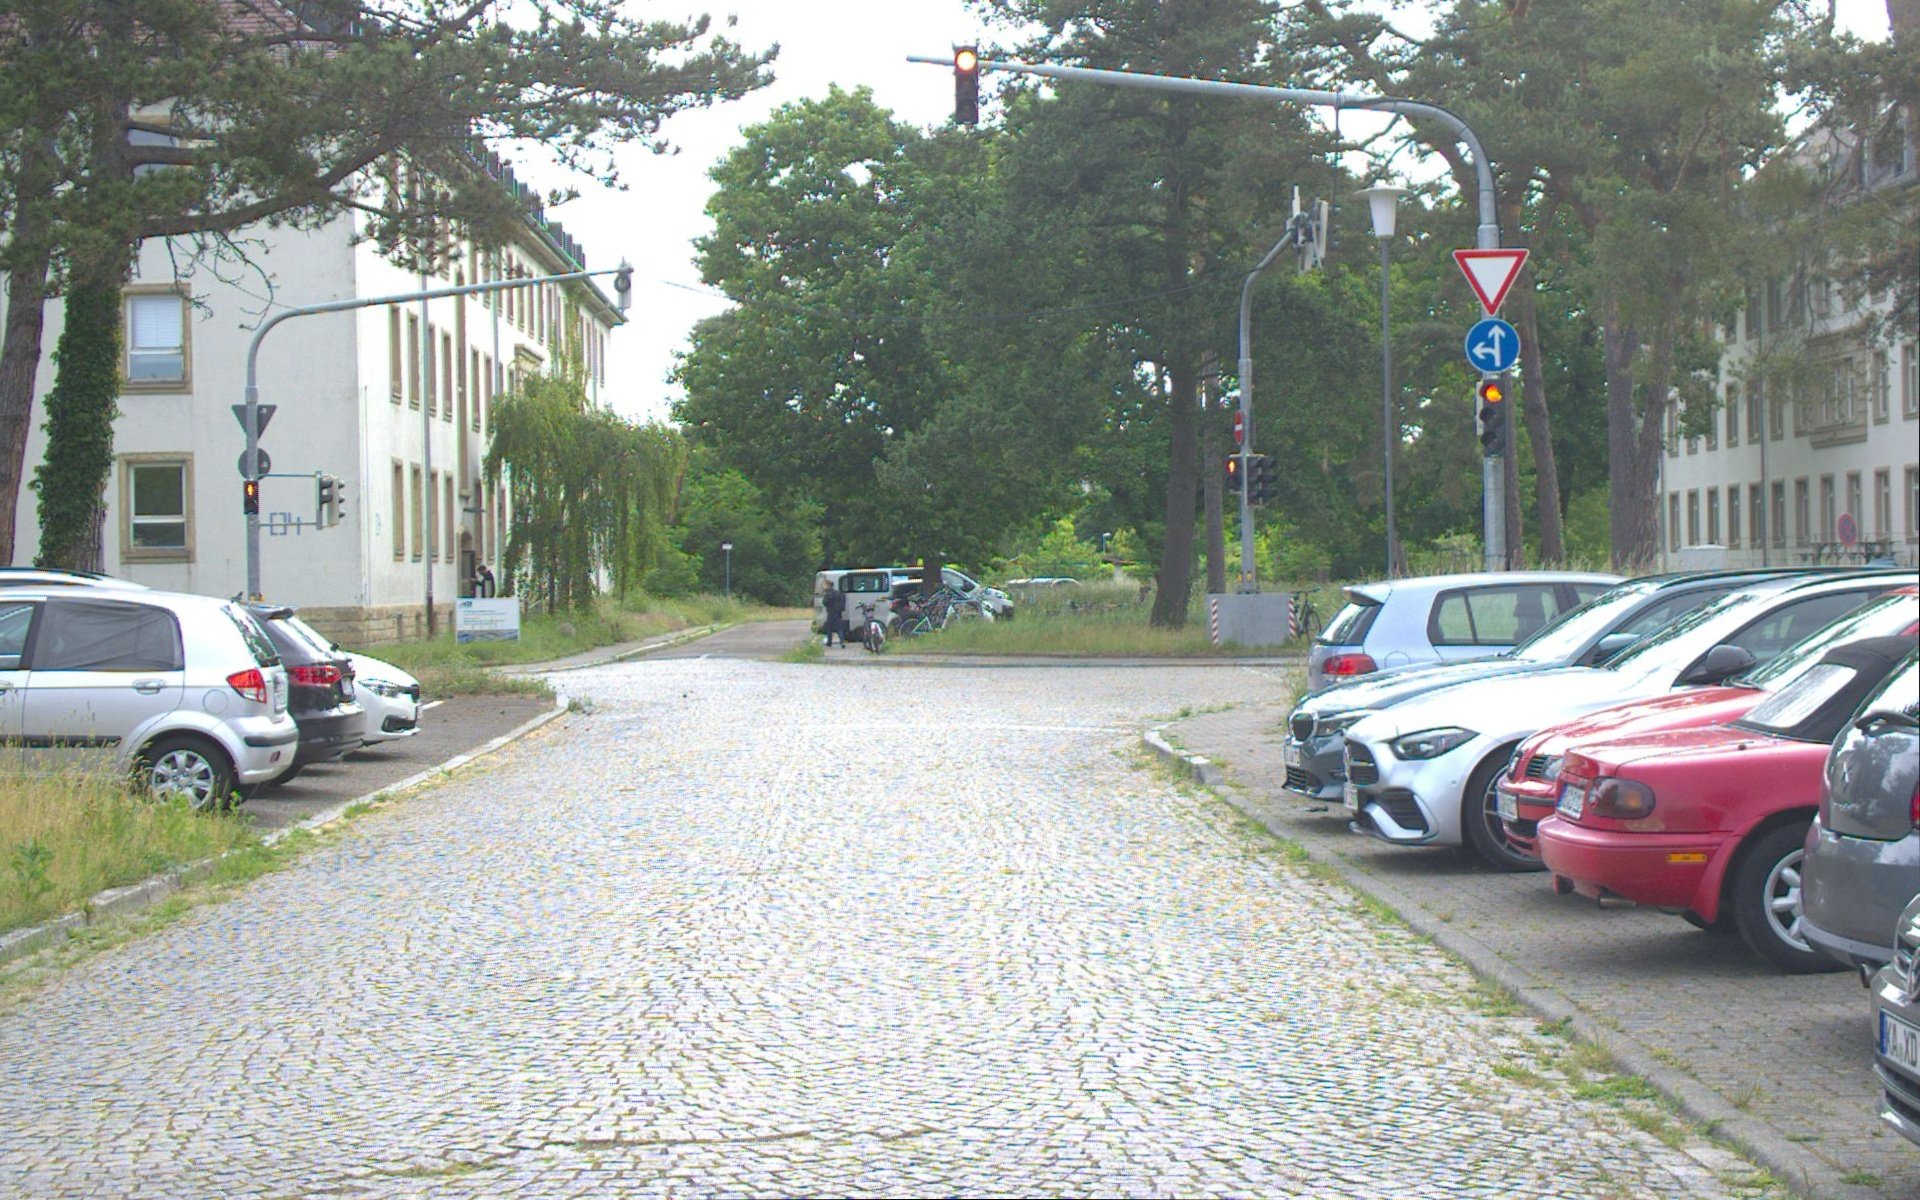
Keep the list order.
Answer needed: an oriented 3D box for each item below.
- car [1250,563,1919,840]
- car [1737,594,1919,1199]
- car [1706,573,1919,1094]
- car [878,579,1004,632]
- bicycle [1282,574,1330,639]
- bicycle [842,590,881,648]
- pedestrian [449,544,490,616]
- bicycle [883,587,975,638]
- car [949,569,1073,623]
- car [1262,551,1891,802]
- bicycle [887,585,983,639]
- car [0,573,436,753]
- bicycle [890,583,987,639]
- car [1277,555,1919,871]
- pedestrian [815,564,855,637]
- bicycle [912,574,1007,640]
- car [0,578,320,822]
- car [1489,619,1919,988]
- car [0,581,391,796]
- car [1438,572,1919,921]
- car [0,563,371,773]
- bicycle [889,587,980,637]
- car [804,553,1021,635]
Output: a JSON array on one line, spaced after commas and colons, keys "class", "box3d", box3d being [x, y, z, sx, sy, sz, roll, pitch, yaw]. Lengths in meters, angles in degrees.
[{"class": "car", "box3d": [4.250, 0.567, 20.908, 4.680, 1.412, 1.871, -3, 1, -3]}, {"class": "car", "box3d": [3.990, 0.658, 7.964, 3.862, 1.467, 1.758, -3, 1, -5]}, {"class": "car", "box3d": [4.522, 0.595, 10.844, 3.862, 1.467, 1.758, -3, 1, -2]}, {"class": "car", "box3d": [-0.483, 0.132, 86.843, 3.005, 1.264, 1.535, -1, 0, -7]}, {"class": "bicycle", "box3d": [6.041, 0.102, 60.127, 0.586, 1.102, 1.961, -1, 1, -1]}, {"class": "bicycle", "box3d": [-1.977, 0.371, 68.919, 0.603, 1.129, 1.962, -1, 1, -7]}, {"class": "pedestrian", "box3d": [-12.515, -0.511, 87.688, 0.774, 1.831, 0.741, -1, 0, -32]}, {"class": "bicycle", "box3d": [-0.668, 0.264, 74.253, 1.955, 1.066, 0.588, -1, 0, -31]}, {"class": "car", "box3d": [1.377, -0.105, 94.136, 3.231, 1.411, 1.725, -1, 0, -4]}, {"class": "car", "box3d": [4.114, 0.494, 23.358, 3.927, 1.472, 1.642, -3, 1, 1]}, {"class": "bicycle", "box3d": [-0.526, 0.249, 72.772, 1.954, 1.113, 0.588, -1, 0, -8]}, {"class": "car", "box3d": [-6.719, 0.536, 30.303, 3.947, 1.417, 1.650, 2, 0, -2]}, {"class": "bicycle", "box3d": [-0.447, 0.229, 72.140, 1.954, 1.129, 0.588, -1, 0, -8]}, {"class": "car", "box3d": [4.096, 0.526, 18.218, 4.421, 1.412, 1.871, -3, 1, -10]}, {"class": "pedestrian", "box3d": [-2.772, 0.011, 76.211, 0.738, 1.613, 0.776, -1, 0, -10]}, {"class": "bicycle", "box3d": [-0.006, 0.156, 73.611, 1.954, 1.379, 0.588, -1, 0, -8]}, {"class": "car", "box3d": [-6.154, 0.603, 22.391, 3.702, 1.474, 1.583, 2, 0, -4]}, {"class": "car", "box3d": [4.180, 0.698, 13.439, 3.862, 1.232, 1.758, -3, 1, -2]}, {"class": "car", "box3d": [-6.119, 0.607, 24.990, 3.745, 1.424, 1.583, 2, 0, -4]}, {"class": "car", "box3d": [4.523, 0.589, 15.957, 4.261, 1.412, 1.871, -3, 1, -1]}, {"class": "car", "box3d": [-6.857, 0.516, 27.758, 3.947, 1.558, 1.650, 2, 0, -4]}, {"class": "bicycle", "box3d": [-0.549, 0.255, 75.605, 1.955, 1.066, 0.588, -1, 0, -31]}, {"class": "car", "box3d": [-1.264, -0.158, 90.213, 5.359, 1.918, 2.025, -2, 1, -10]}]
